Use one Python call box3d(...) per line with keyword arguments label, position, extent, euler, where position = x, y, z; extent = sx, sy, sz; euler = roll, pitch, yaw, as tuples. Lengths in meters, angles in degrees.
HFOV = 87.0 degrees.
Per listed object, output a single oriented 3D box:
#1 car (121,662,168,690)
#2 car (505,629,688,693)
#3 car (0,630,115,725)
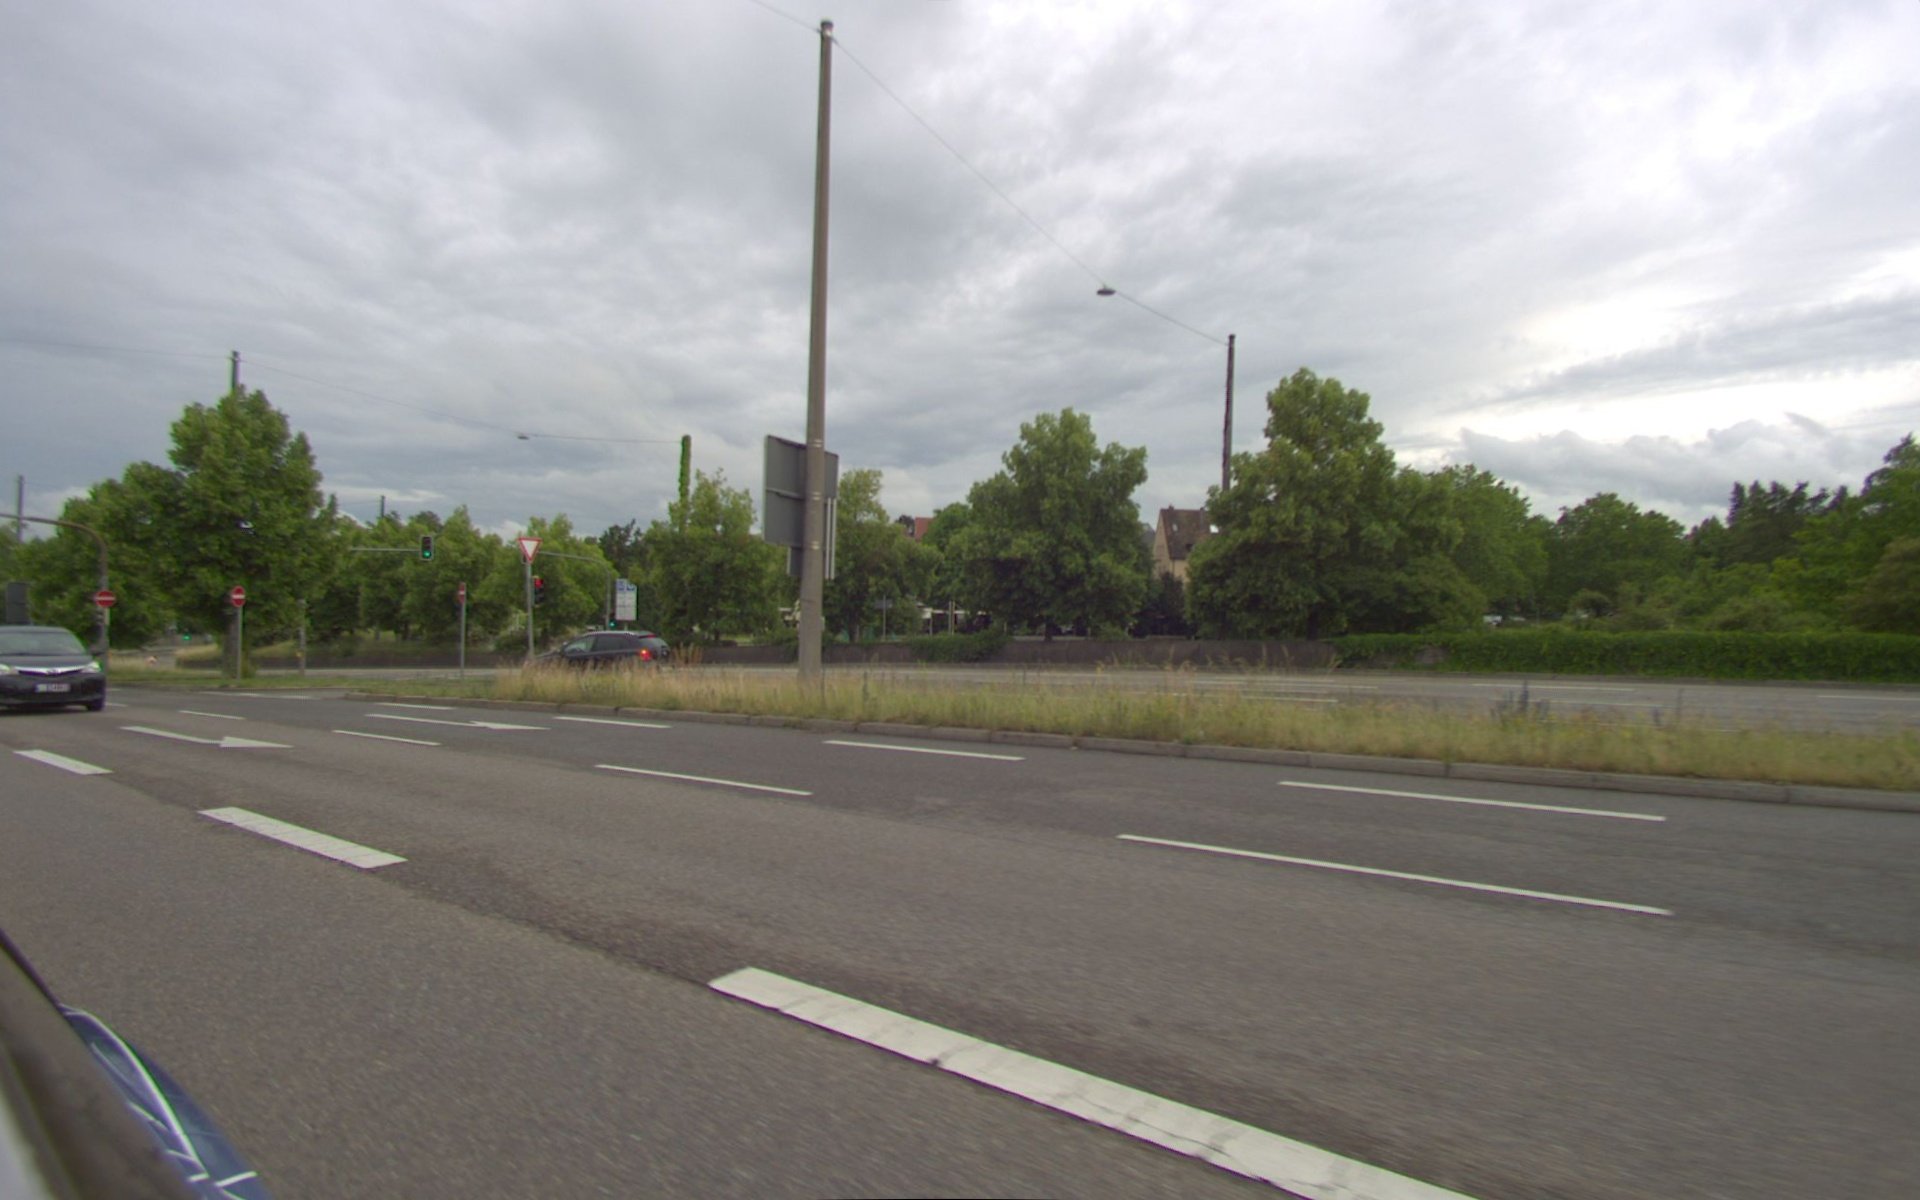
box3d(label="car", position=(-62.757, 5.834, 77.871), extent=(3.996, 2.029, 1.974), euler=(-3, -5, 39))
box3d(label="car", position=(-9.112, 1.543, 25.519), extent=(3.957, 1.519, 1.889), euler=(-1, -3, 11))
box3d(label="car", position=(-17.199, 1.381, 18.596), extent=(4.037, 1.577, 1.779), euler=(-3, -3, 38))
